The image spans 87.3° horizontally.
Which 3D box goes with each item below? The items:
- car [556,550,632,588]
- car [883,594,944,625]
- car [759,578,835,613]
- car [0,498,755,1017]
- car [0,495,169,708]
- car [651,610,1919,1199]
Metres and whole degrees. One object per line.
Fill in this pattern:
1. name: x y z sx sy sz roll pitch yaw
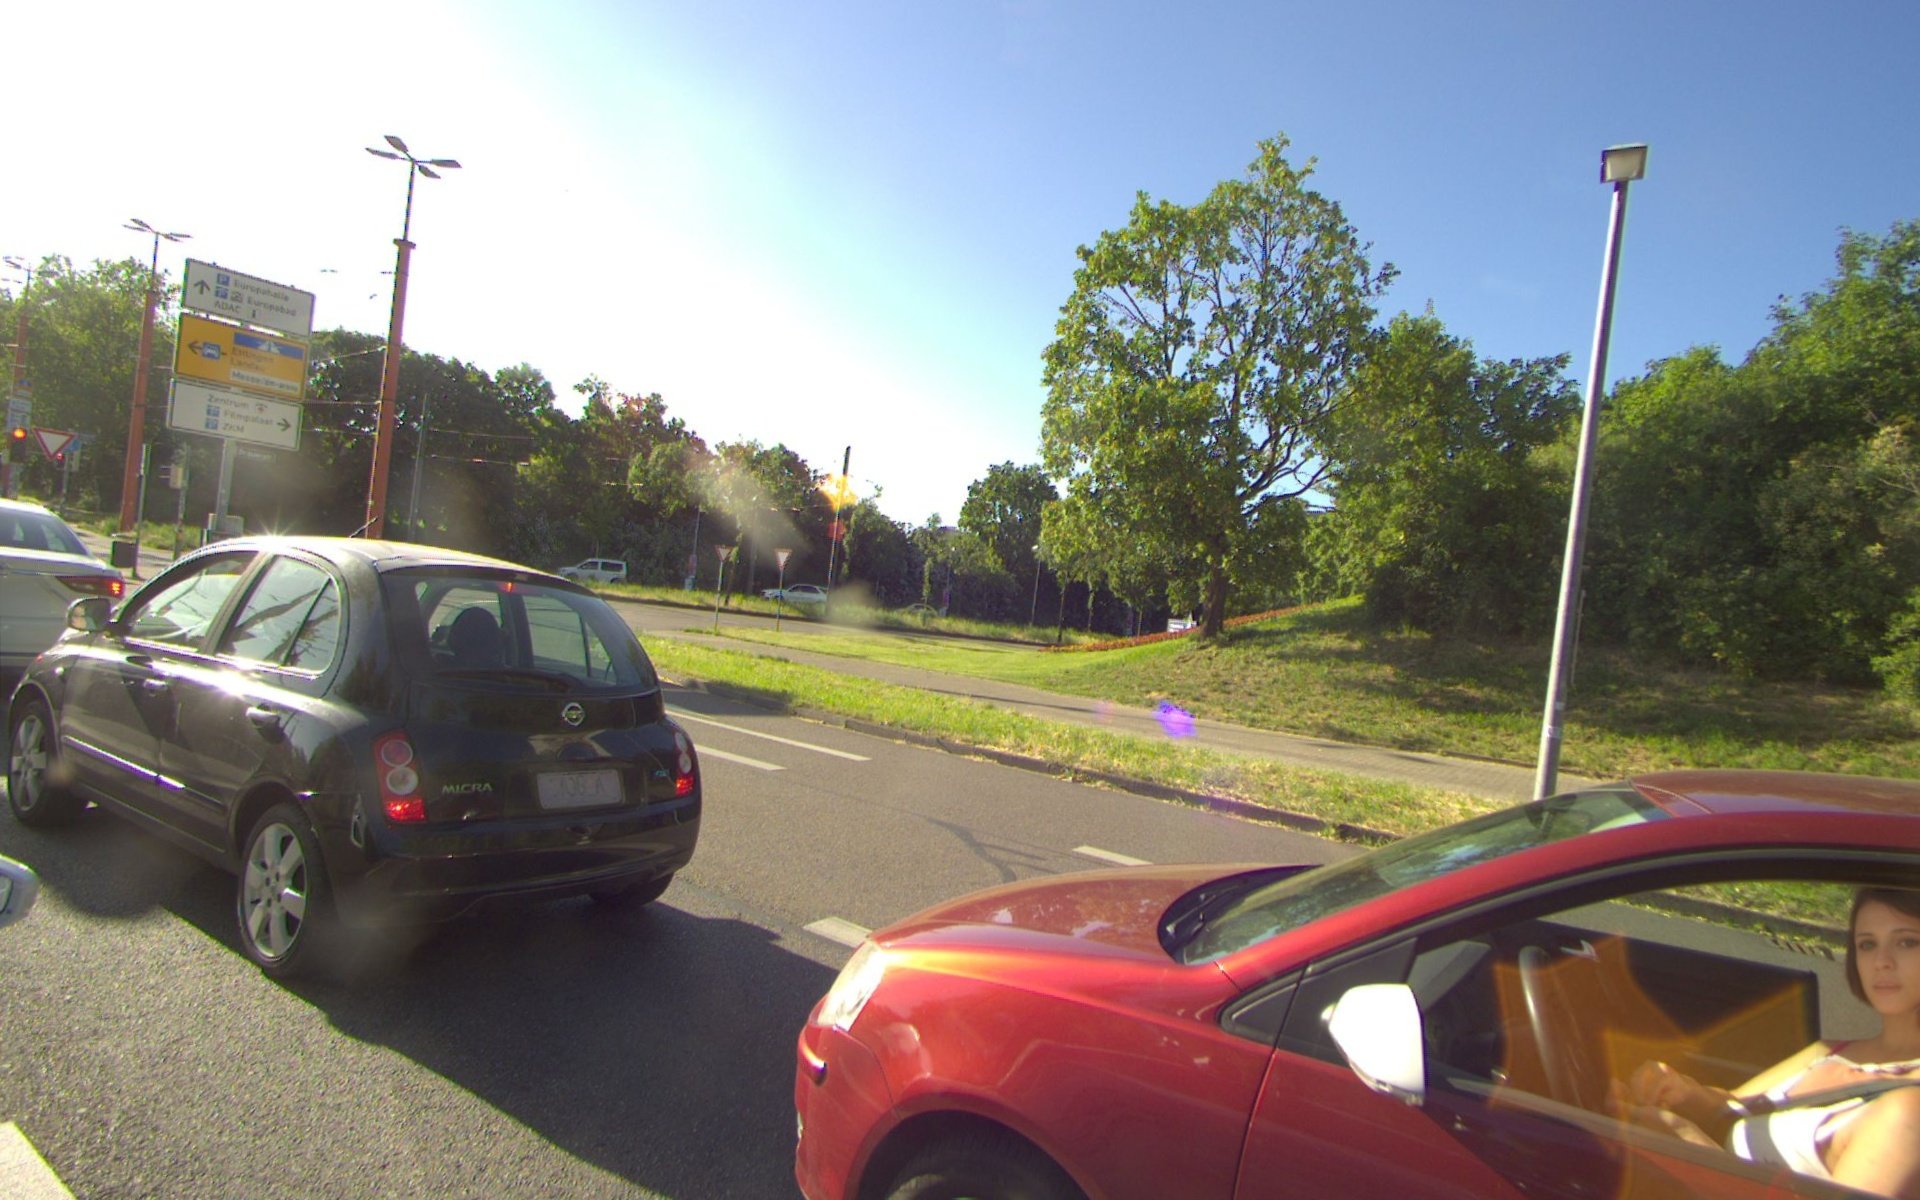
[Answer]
1. car: -23.061 -1.933 63.423 4.090 1.771 1.643 8 -1 -32
2. car: -3.469 0.712 75.565 4.176 1.701 1.643 8 -1 -32
3. car: -10.835 -0.279 66.979 4.629 1.644 1.643 8 -1 -32
4. car: -2.811 0.463 4.621 3.385 1.457 1.579 6 -2 32
5. car: -8.383 -0.179 8.076 4.256 1.457 1.802 6 -2 33
6. car: 1.332 0.998 1.865 3.629 1.477 1.579 6 -2 32
